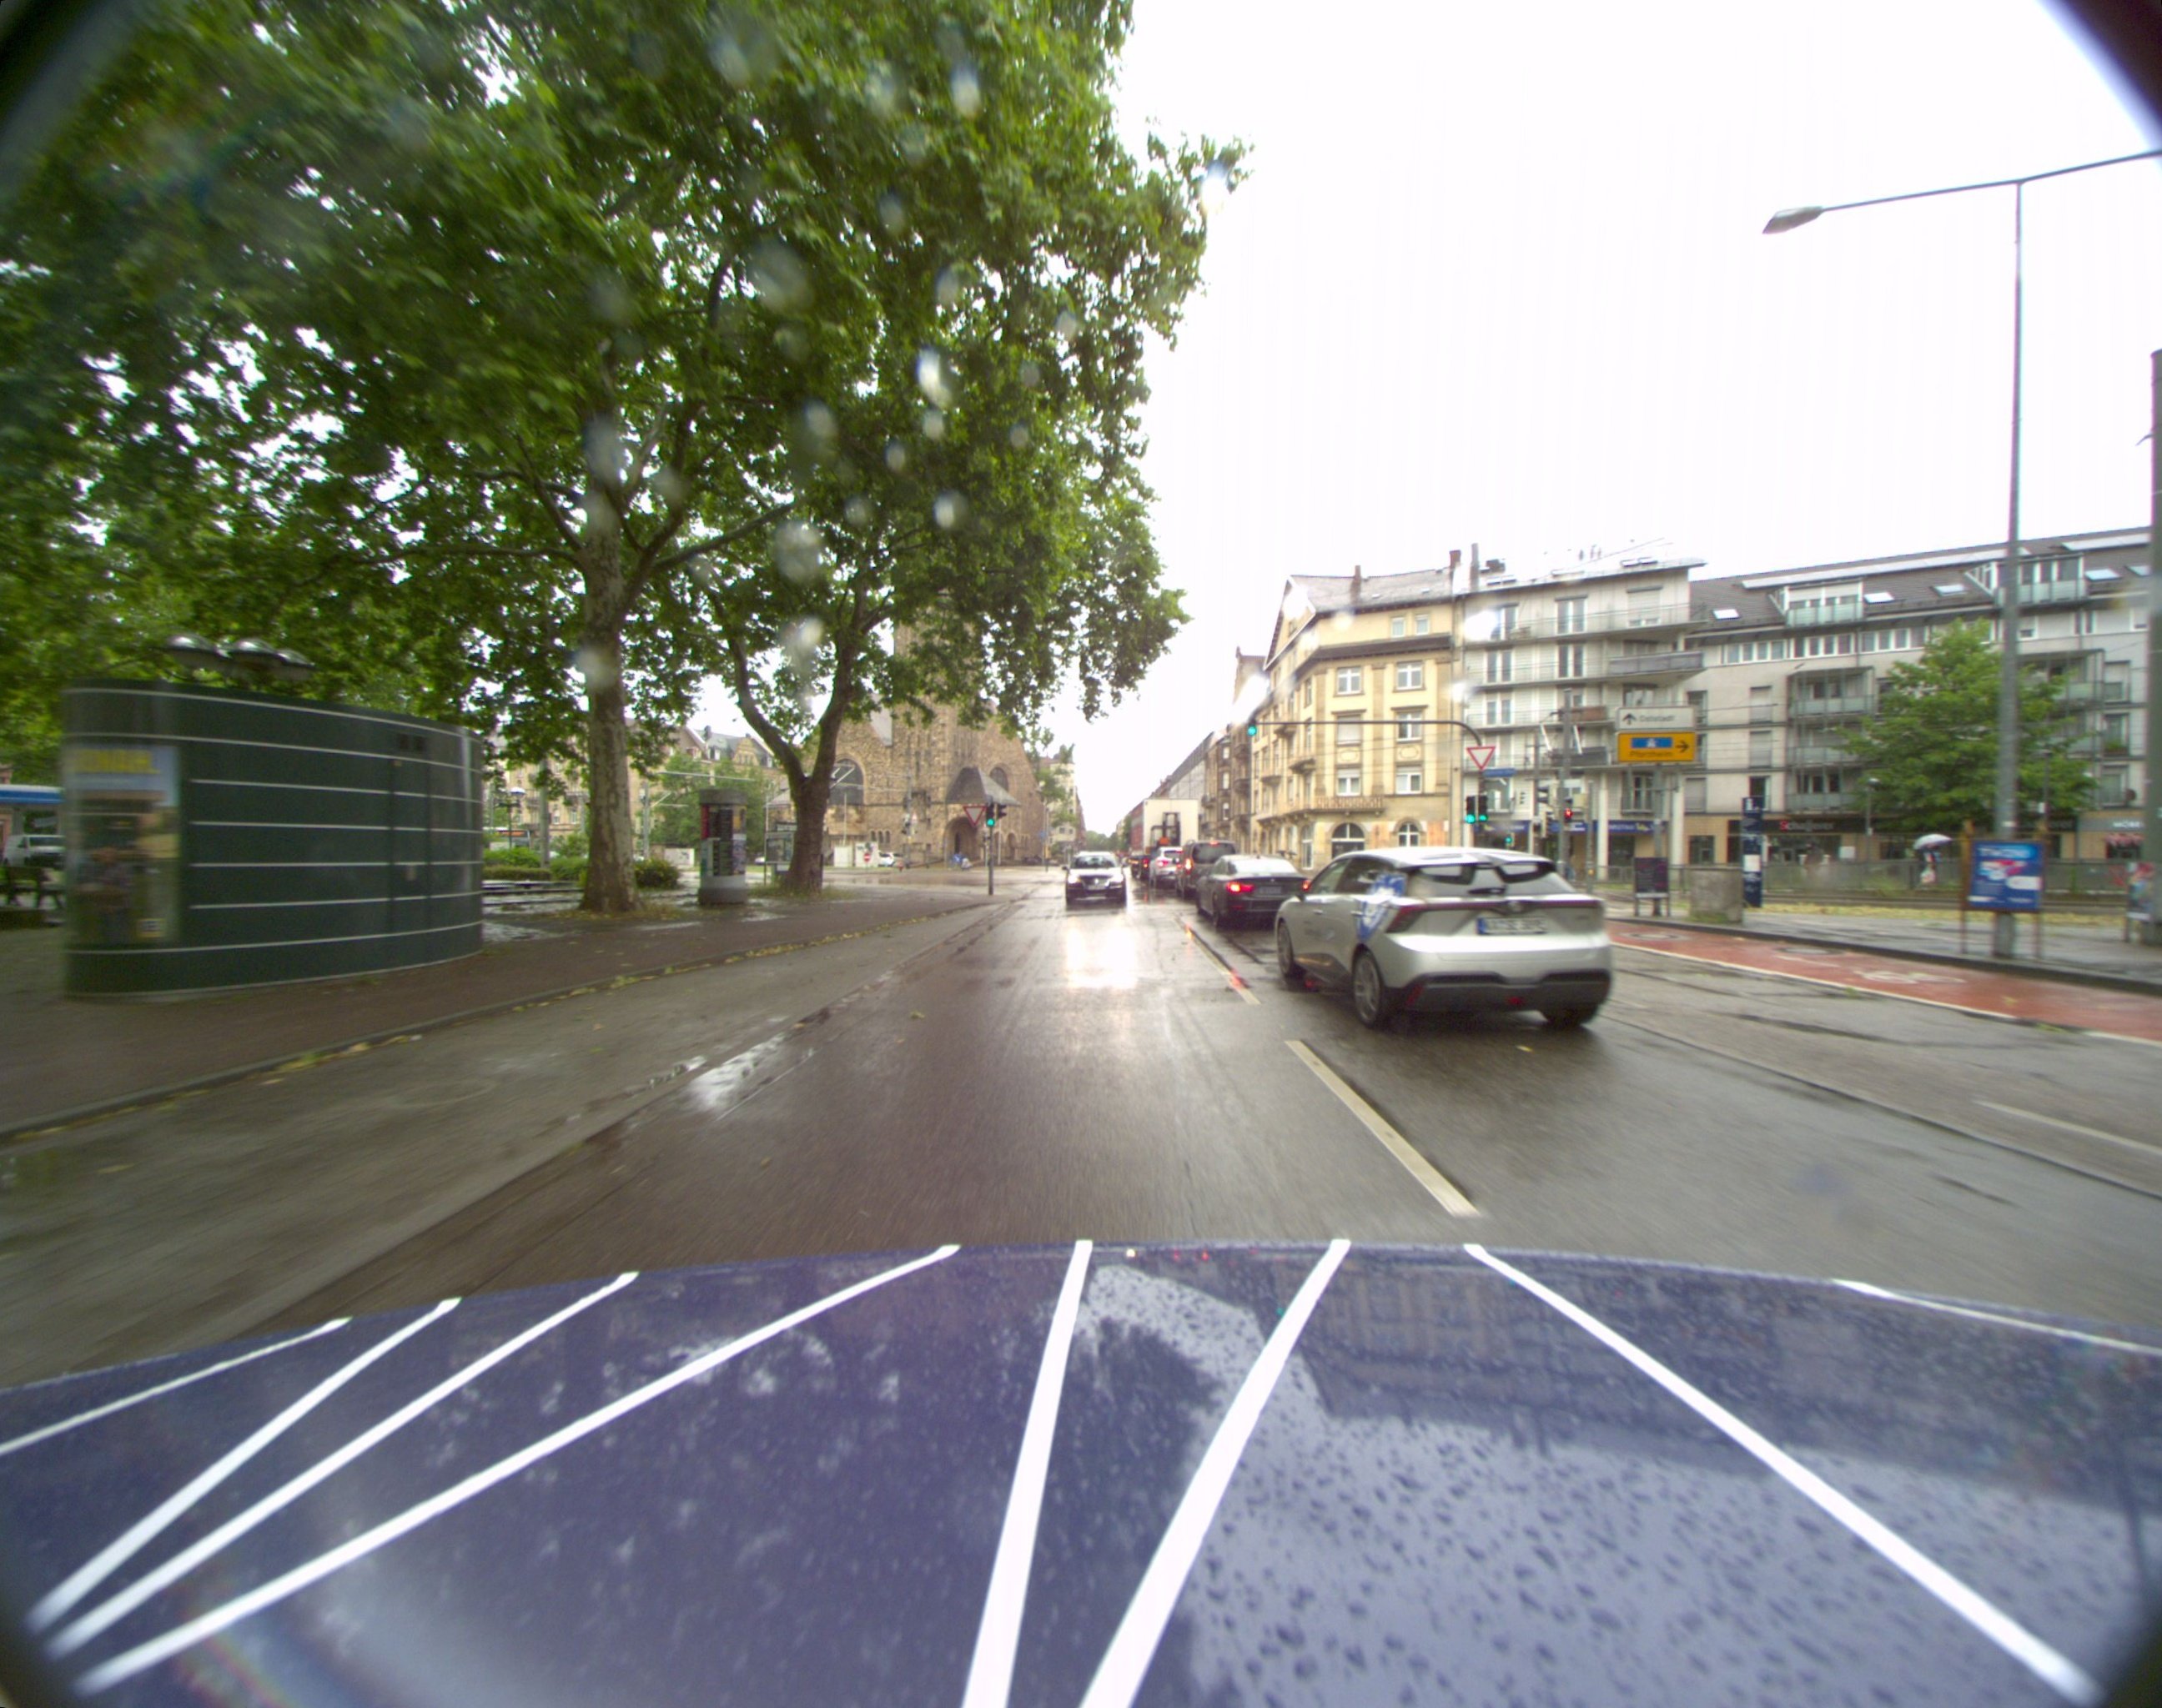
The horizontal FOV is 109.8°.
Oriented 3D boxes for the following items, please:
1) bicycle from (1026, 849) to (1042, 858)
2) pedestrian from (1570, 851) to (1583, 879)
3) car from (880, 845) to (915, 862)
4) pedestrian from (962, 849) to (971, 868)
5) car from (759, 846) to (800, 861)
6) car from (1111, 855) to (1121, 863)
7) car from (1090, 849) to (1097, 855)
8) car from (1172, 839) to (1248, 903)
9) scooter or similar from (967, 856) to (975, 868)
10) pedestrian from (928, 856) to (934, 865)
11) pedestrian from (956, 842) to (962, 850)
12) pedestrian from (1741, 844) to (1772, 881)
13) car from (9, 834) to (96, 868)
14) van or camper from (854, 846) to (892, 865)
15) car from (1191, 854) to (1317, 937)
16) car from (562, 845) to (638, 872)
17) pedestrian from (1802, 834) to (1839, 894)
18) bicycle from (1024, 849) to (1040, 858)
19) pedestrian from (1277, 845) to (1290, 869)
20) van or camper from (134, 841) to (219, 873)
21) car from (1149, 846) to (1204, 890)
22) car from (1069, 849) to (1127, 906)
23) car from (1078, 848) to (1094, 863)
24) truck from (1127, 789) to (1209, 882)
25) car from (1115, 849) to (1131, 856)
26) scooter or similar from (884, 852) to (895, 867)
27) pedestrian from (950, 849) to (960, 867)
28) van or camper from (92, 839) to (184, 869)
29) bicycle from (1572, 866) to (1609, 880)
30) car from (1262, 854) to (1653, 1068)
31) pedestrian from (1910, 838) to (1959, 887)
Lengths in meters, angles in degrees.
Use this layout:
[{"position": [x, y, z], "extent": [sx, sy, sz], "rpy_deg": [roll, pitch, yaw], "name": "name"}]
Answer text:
[{"position": [-6.086, -0.064, 98.423], "extent": [1.923, 1.054, 0.582], "rpy_deg": [1, 1, 23], "name": "bicycle"}, {"position": [32.046, 0.704, 49.134], "extent": [0.610, 1.770, 0.500], "rpy_deg": [1, 1, 26], "name": "pedestrian"}, {"position": [-18.867, -0.056, 78.248], "extent": [1.732, 1.565, 3.363], "rpy_deg": [1, 4, 28], "name": "car"}, {"position": [-10.289, 0.406, 68.159], "extent": [0.604, 1.654, 0.689], "rpy_deg": [1, 0, 5], "name": "pedestrian"}, {"position": [-33.795, -0.044, 85.251], "extent": [1.995, 1.608, 4.007], "rpy_deg": [1, 0, 26], "name": "car"}, {"position": [6.303, 0.894, 137.937], "extent": [1.747, 1.537, 3.779], "rpy_deg": [1, 0, 1], "name": "car"}, {"position": [3.833, -0.646, 231.470], "extent": [1.998, 1.705, 3.804], "rpy_deg": [1, 0, 5], "name": "car"}, {"position": [3.996, 0.478, 24.168], "extent": [1.811, 1.851, 4.109], "rpy_deg": [1, 0, 2], "name": "car"}, {"position": [-9.763, 0.705, 67.587], "extent": [0.514, 1.042, 0.924], "rpy_deg": [1, 0, 4], "name": "scooter or similar"}, {"position": [-14.465, 0.647, 73.241], "extent": [0.455, 0.879, 0.397], "rpy_deg": [1, 1, 22], "name": "pedestrian"}, {"position": [-13.401, -0.831, 83.399], "extent": [0.395, 0.879, 0.457], "rpy_deg": [1, 1, 24], "name": "pedestrian"}, {"position": [30.581, 0.384, 34.391], "extent": [0.754, 1.639, 0.839], "rpy_deg": [2, 1, 22], "name": "pedestrian"}, {"position": [-55.299, -0.172, 40.851], "extent": [4.251, 1.768, 1.741], "rpy_deg": [1, 0, 22], "name": "car"}, {"position": [-21.780, 0.120, 79.787], "extent": [1.644, 1.719, 3.934], "rpy_deg": [1, 4, 25], "name": "van or camper"}, {"position": [3.402, 0.738, 15.724], "extent": [1.746, 1.382, 4.362], "rpy_deg": [-1, 1, 2], "name": "car"}, {"position": [-29.996, 0.281, 47.333], "extent": [4.543, 1.590, 1.795], "rpy_deg": [1, 0, 24], "name": "car"}, {"position": [25.850, 0.349, 26.564], "extent": [0.701, 2.065, 0.638], "rpy_deg": [1, 1, 21], "name": "pedestrian"}, {"position": [-6.343, -0.068, 97.808], "extent": [1.923, 1.054, 0.582], "rpy_deg": [1, 1, 23], "name": "bicycle"}, {"position": [16.252, 0.229, 60.960], "extent": [0.920, 1.955, 0.700], "rpy_deg": [0, 3, 6], "name": "pedestrian"}, {"position": [-56.322, 0.165, 47.318], "extent": [4.659, 1.903, 2.003], "rpy_deg": [1, 0, 22], "name": "van or camper"}, {"position": [3.689, 0.487, 29.930], "extent": [1.746, 1.595, 4.000], "rpy_deg": [1, 0, 2], "name": "car"}, {"position": [0.520, 0.640, 22.991], "extent": [1.547, 1.553, 4.071], "rpy_deg": [1, 0, 2], "name": "car"}, {"position": [0.670, 0.218, 101.652], "extent": [1.909, 1.911, 5.272], "rpy_deg": [1, 0, 2], "name": "car"}, {"position": [4.161, -0.843, 38.670], "extent": [2.853, 4.002, 10.315], "rpy_deg": [1, 0, 0], "name": "truck"}, {"position": [11.020, -0.469, 200.434], "extent": [3.809, 1.705, 1.995], "rpy_deg": [1, 1, -32], "name": "car"}, {"position": [-18.145, 0.498, 71.960], "extent": [1.101, 1.379, 0.287], "rpy_deg": [1, 0, 24], "name": "scooter or similar"}, {"position": [-11.819, 0.350, 71.182], "extent": [0.676, 1.693, 0.635], "rpy_deg": [1, 1, 39], "name": "pedestrian"}, {"position": [-54.173, -0.014, 43.645], "extent": [4.659, 1.589, 2.003], "rpy_deg": [1, 0, 22], "name": "van or camper"}, {"position": [33.631, 1.262, 50.167], "extent": [1.922, 0.861, 0.582], "rpy_deg": [1, 1, 27], "name": "bicycle"}, {"position": [3.186, 0.769, 7.489], "extent": [1.850, 1.501, 4.055], "rpy_deg": [1, 0, 0], "name": "car"}, {"position": [29.023, 0.288, 25.859], "extent": [0.815, 1.639, 0.795], "rpy_deg": [2, 1, 25], "name": "pedestrian"}]
